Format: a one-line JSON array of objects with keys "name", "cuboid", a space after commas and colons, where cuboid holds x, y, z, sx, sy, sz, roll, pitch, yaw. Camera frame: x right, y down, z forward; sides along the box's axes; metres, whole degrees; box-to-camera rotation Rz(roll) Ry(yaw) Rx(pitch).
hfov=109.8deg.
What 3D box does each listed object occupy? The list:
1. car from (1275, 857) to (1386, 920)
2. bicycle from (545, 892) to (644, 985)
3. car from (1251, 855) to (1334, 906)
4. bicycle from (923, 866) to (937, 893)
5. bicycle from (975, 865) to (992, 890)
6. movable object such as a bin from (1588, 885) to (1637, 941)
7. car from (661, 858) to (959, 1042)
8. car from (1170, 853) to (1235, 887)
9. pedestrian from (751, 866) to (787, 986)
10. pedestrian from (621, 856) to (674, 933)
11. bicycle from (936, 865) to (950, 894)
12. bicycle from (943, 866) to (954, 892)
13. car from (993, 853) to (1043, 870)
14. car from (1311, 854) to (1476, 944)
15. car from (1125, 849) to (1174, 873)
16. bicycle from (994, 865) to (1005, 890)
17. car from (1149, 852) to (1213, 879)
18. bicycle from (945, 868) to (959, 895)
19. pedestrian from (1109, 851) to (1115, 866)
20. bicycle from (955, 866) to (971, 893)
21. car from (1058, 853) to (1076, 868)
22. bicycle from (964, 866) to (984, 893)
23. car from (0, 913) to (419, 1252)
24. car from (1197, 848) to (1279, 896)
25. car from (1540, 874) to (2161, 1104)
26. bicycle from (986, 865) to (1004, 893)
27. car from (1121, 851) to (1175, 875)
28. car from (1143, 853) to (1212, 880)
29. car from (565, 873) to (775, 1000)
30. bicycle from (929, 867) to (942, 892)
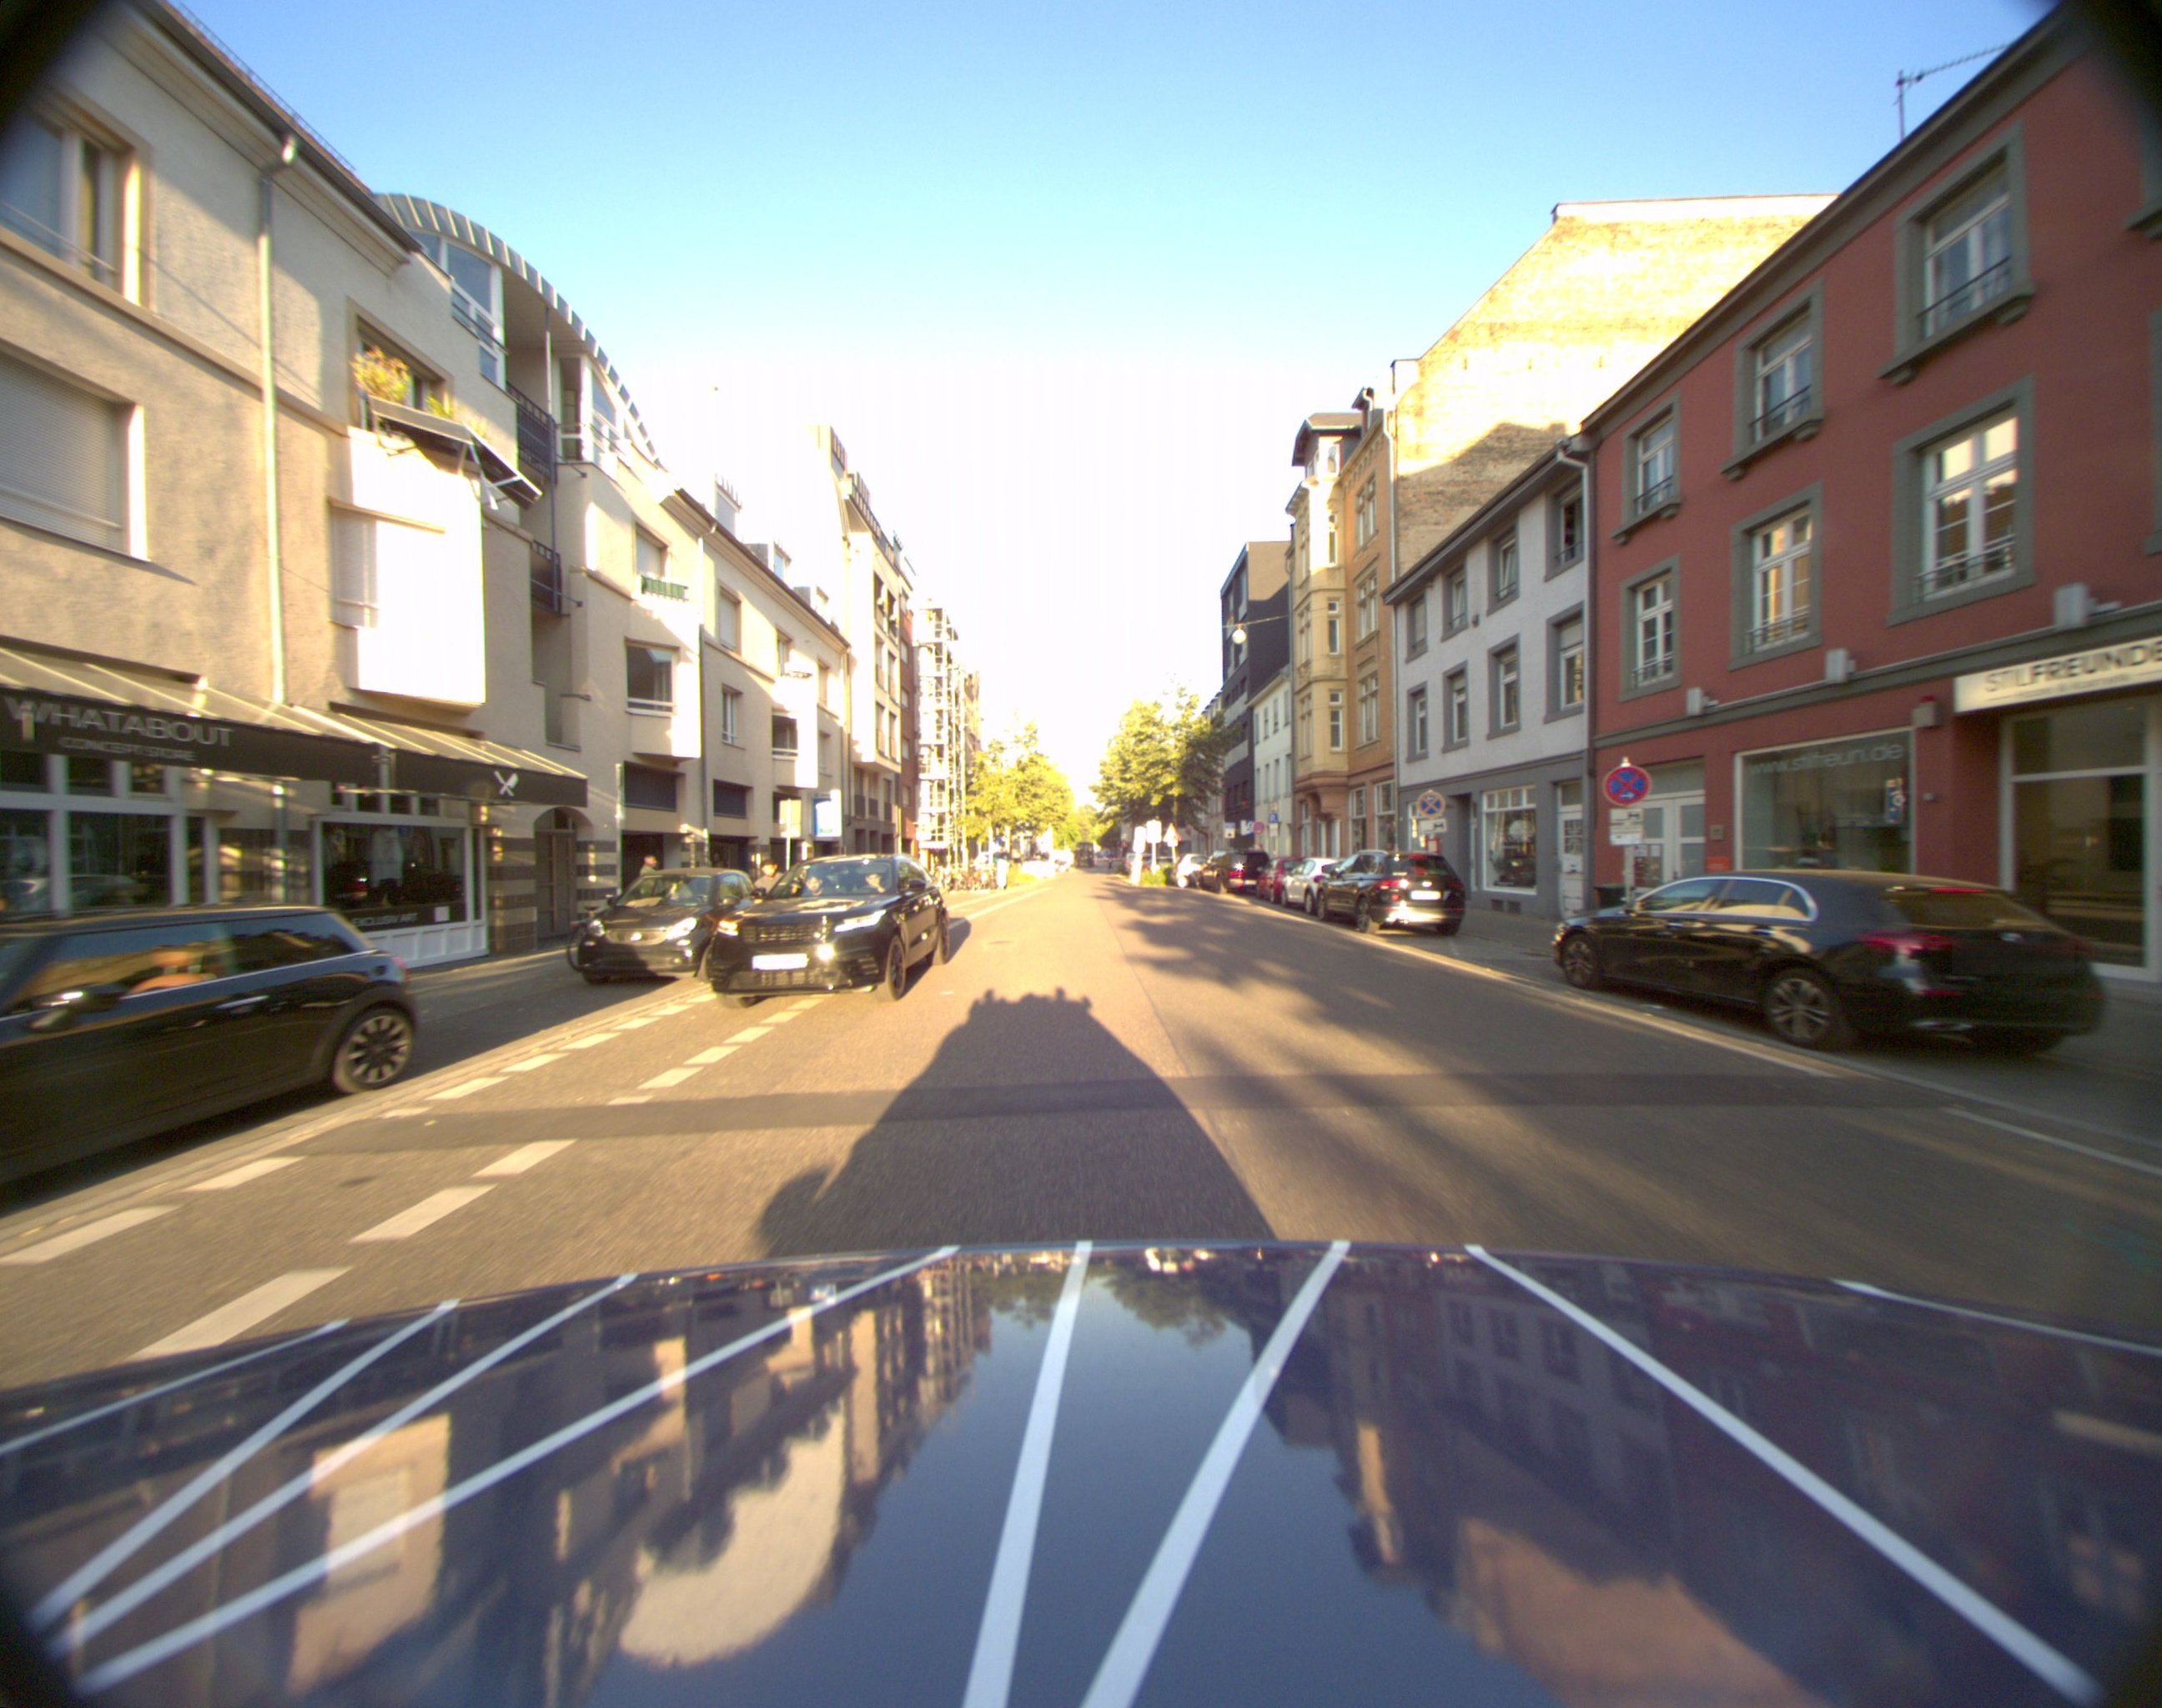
[{"name": "car", "cuboid": [6.670, 0.849, 20.725, 1.778, 1.506, 3.950, 1, 0, 1]}, {"name": "bicycle", "cuboid": [-7.466, 1.252, 11.750, 0.398, 1.227, 1.825, 0, 0, -2]}, {"name": "car", "cuboid": [6.812, 0.821, 24.834, 1.778, 1.506, 3.484, 1, 0, 1]}, {"name": "bicycle", "cuboid": [-6.588, 1.102, 33.179, 0.383, 1.094, 1.522, -1, 1, -3]}, {"name": "bicycle", "cuboid": [-4.445, 1.047, 34.599, 0.383, 1.094, 1.520, -1, 1, -21]}, {"name": "movable object such as a bin", "cuboid": [9.881, 1.084, 14.146, 0.431, 0.984, 0.671, -1, 1, 1]}, {"name": "car", "cuboid": [-3.010, 0.948, 9.719, 2.000, 1.645, 4.673, -3, 0, 1]}, {"name": "car", "cuboid": [5.599, 0.723, 35.141, 2.701, 1.511, 1.571, 1, -1, -3]}, {"name": "pedestrian", "cuboid": [-4.474, 1.007, 10.881, 0.443, 1.655, 0.564, -1, 1, -24]}, {"name": "pedestrian", "cuboid": [-9.562, 0.869, 16.779, 0.605, 1.637, 0.813, -1, 1, 5]}, {"name": "bicycle", "cuboid": [-6.036, 1.099, 33.194, 0.383, 1.182, 1.522, -2, 1, -3]}, {"name": "bicycle", "cuboid": [-6.044, 1.124, 34.610, 0.383, 1.094, 1.522, -1, 0, -6]}, {"name": "car", "cuboid": [-5.881, 0.705, 71.260, 4.538, 1.502, 1.912, 0, -1, 0]}, {"name": "car", "cuboid": [6.351, 0.822, 16.024, 1.778, 1.623, 4.238, 1, 0, 1]}, {"name": "car", "cuboid": [5.451, 0.518, 60.892, 3.819, 1.839, 1.700, -1, 1, 4]}, {"name": "bicycle", "cuboid": [-3.709, 1.045, 34.807, 0.383, 1.094, 1.522, -1, 0, -2]}, {"name": "car", "cuboid": [5.584, 0.652, 42.752, 3.404, 1.384, 1.687, -2, 0, 3]}, {"name": "bicycle", "cuboid": [-5.583, 1.167, 32.968, 0.383, 1.094, 1.522, -1, 1, -3]}, {"name": "pedestrian", "cuboid": [3.346, 0.458, 82.170, 0.673, 1.585, 0.468, -1, 1, -3]}, {"name": "bicycle", "cuboid": [-5.154, 1.103, 33.296, 0.382, 1.094, 1.565, -1, 0, 2]}, {"name": "car", "cuboid": [-1.561, 0.716, 85.085, 1.709, 1.575, 3.679, -1, 1, 3]}, {"name": "bicycle", "cuboid": [-4.636, 1.098, 32.991, 0.371, 1.101, 1.524, -1, 0, 12]}, {"name": "car", "cuboid": [-5.948, 1.183, 3.991, 1.637, 1.416, 3.757, 0, 0, 0]}, {"name": "car", "cuboid": [5.974, 0.628, 29.524, 1.910, 1.718, 4.700, 0, 1, -4]}, {"name": "car", "cuboid": [6.603, 0.981, 7.362, 1.717, 1.432, 4.309, 1, 0, 1]}, {"name": "bicycle", "cuboid": [-3.722, 1.080, 33.021, 0.363, 1.134, 1.566, -1, 1, 8]}, {"name": "car", "cuboid": [4.905, 0.638, 55.846, 3.834, 1.576, 1.741, -2, 1, 3]}, {"name": "car", "cuboid": [5.713, 0.723, 45.339, 3.902, 1.508, 1.857, -2, 0, 1]}, {"name": "car", "cuboid": [-5.800, 1.087, 11.078, 1.637, 1.544, 2.694, 0, 0, -2]}, {"name": "bicycle", "cuboid": [-6.652, 1.145, 34.750, 0.383, 1.094, 1.522, -1, 0, -3]}]
